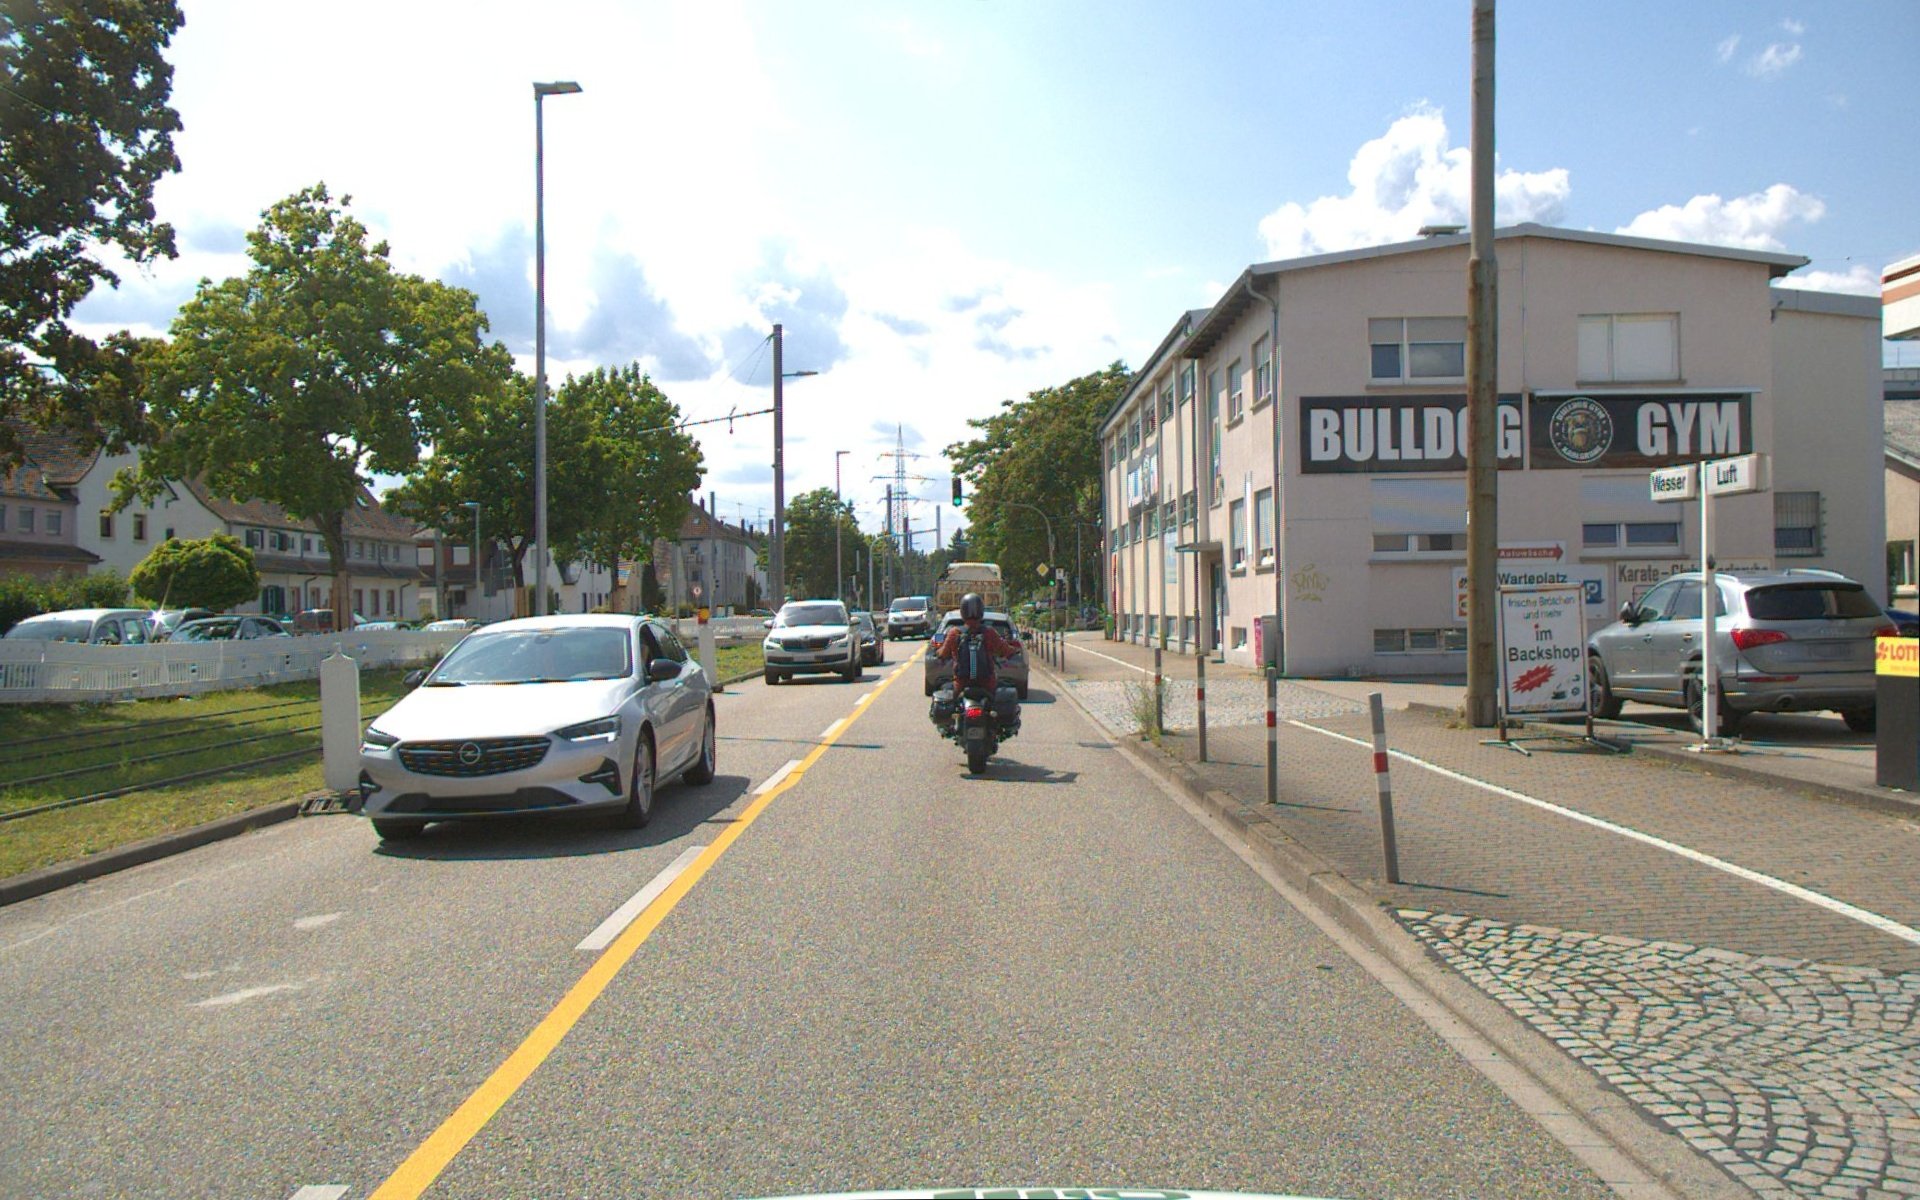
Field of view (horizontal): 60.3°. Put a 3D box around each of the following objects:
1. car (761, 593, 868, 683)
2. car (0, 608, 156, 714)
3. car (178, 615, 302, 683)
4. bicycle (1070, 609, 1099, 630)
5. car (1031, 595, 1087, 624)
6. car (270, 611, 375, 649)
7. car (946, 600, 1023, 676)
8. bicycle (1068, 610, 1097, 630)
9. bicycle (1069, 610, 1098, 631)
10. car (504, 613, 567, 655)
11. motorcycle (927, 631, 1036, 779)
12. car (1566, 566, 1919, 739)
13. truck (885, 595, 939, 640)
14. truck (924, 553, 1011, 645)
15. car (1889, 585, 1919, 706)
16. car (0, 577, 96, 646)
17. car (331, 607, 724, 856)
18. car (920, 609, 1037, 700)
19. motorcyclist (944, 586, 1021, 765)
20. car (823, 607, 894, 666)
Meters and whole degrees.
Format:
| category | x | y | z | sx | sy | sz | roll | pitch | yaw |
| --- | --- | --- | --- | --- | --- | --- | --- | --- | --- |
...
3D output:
| category | x | y | z | sx | sy | sz | roll | pitch | yaw |
| --- | --- | --- | --- | --- | --- | --- | --- | --- | --- |
| car | -2.959 | 0.769 | 34.501 | 1.787 | 1.695 | 4.461 | -2 | -1 | 0 |
| car | -15.658 | 1.030 | 28.583 | 1.589 | 1.680 | 3.899 | -2 | -1 | 0 |
| car | -15.861 | 1.064 | 36.562 | 1.322 | 1.401 | 3.114 | -2 | -1 | 0 |
| bicycle | 7.369 | 1.165 | 97.845 | 1.671 | 1.192 | 0.438 | 1 | -1 | 5 |
| car | 7.076 | 0.694 | 117.987 | 3.970 | 1.959 | 1.773 | 2 | -1 | -45 |
| car | -27.855 | 1.311 | 72.372 | 3.905 | 1.536 | 1.725 | -1 | 0 | -1 |
| car | 0.670 | 0.925 | 42.893 | 1.862 | 1.742 | 4.720 | -1 | 1 | 1 |
| bicycle | 7.321 | 1.194 | 98.958 | 1.671 | 1.192 | 0.438 | 1 | -1 | 5 |
| bicycle | 7.343 | 1.226 | 98.392 | 1.671 | 1.192 | 0.438 | 1 | -1 | 5 |
| car | -15.582 | 1.226 | 60.823 | 1.511 | 1.400 | 4.247 | -3 | 0 | -5 |
| motorcycle | 0.196 | 0.932 | 15.571 | 0.923 | 1.221 | 2.472 | 1 | 0 | 0 |
| car | 8.457 | 0.515 | 18.187 | 1.906 | 1.653 | 4.615 | 0 | 0 | 0 |
| truck | -2.142 | 0.760 | 75.747 | 1.781 | 1.943 | 5.120 | 1 | 0 | 6 |
| truck | 0.385 | 0.016 | 62.284 | 2.905 | 3.229 | 7.766 | 1 | -1 | 3 |
| car | 12.704 | 0.508 | 18.770 | 1.658 | 1.496 | 4.421 | -2 | -1 | -2 |
| car | -28.854 | 0.353 | 51.346 | 1.953 | 2.049 | 3.999 | 1 | -1 | 0 |
| car | -2.974 | 0.837 | 12.401 | 1.784 | 1.470 | 4.482 | -2 | -1 | -1 |
| car | 0.263 | 0.901 | 29.020 | 1.697 | 1.428 | 4.083 | 1 | 0 | -4 |
| motorcyclist | 0.209 | 0.695 | 15.500 | 0.684 | 1.632 | 0.692 | 1 | -1 | 0 |
| car | -2.747 | 0.997 | 45.584 | 1.658 | 1.437 | 3.859 | -4 | -1 | -1 |
